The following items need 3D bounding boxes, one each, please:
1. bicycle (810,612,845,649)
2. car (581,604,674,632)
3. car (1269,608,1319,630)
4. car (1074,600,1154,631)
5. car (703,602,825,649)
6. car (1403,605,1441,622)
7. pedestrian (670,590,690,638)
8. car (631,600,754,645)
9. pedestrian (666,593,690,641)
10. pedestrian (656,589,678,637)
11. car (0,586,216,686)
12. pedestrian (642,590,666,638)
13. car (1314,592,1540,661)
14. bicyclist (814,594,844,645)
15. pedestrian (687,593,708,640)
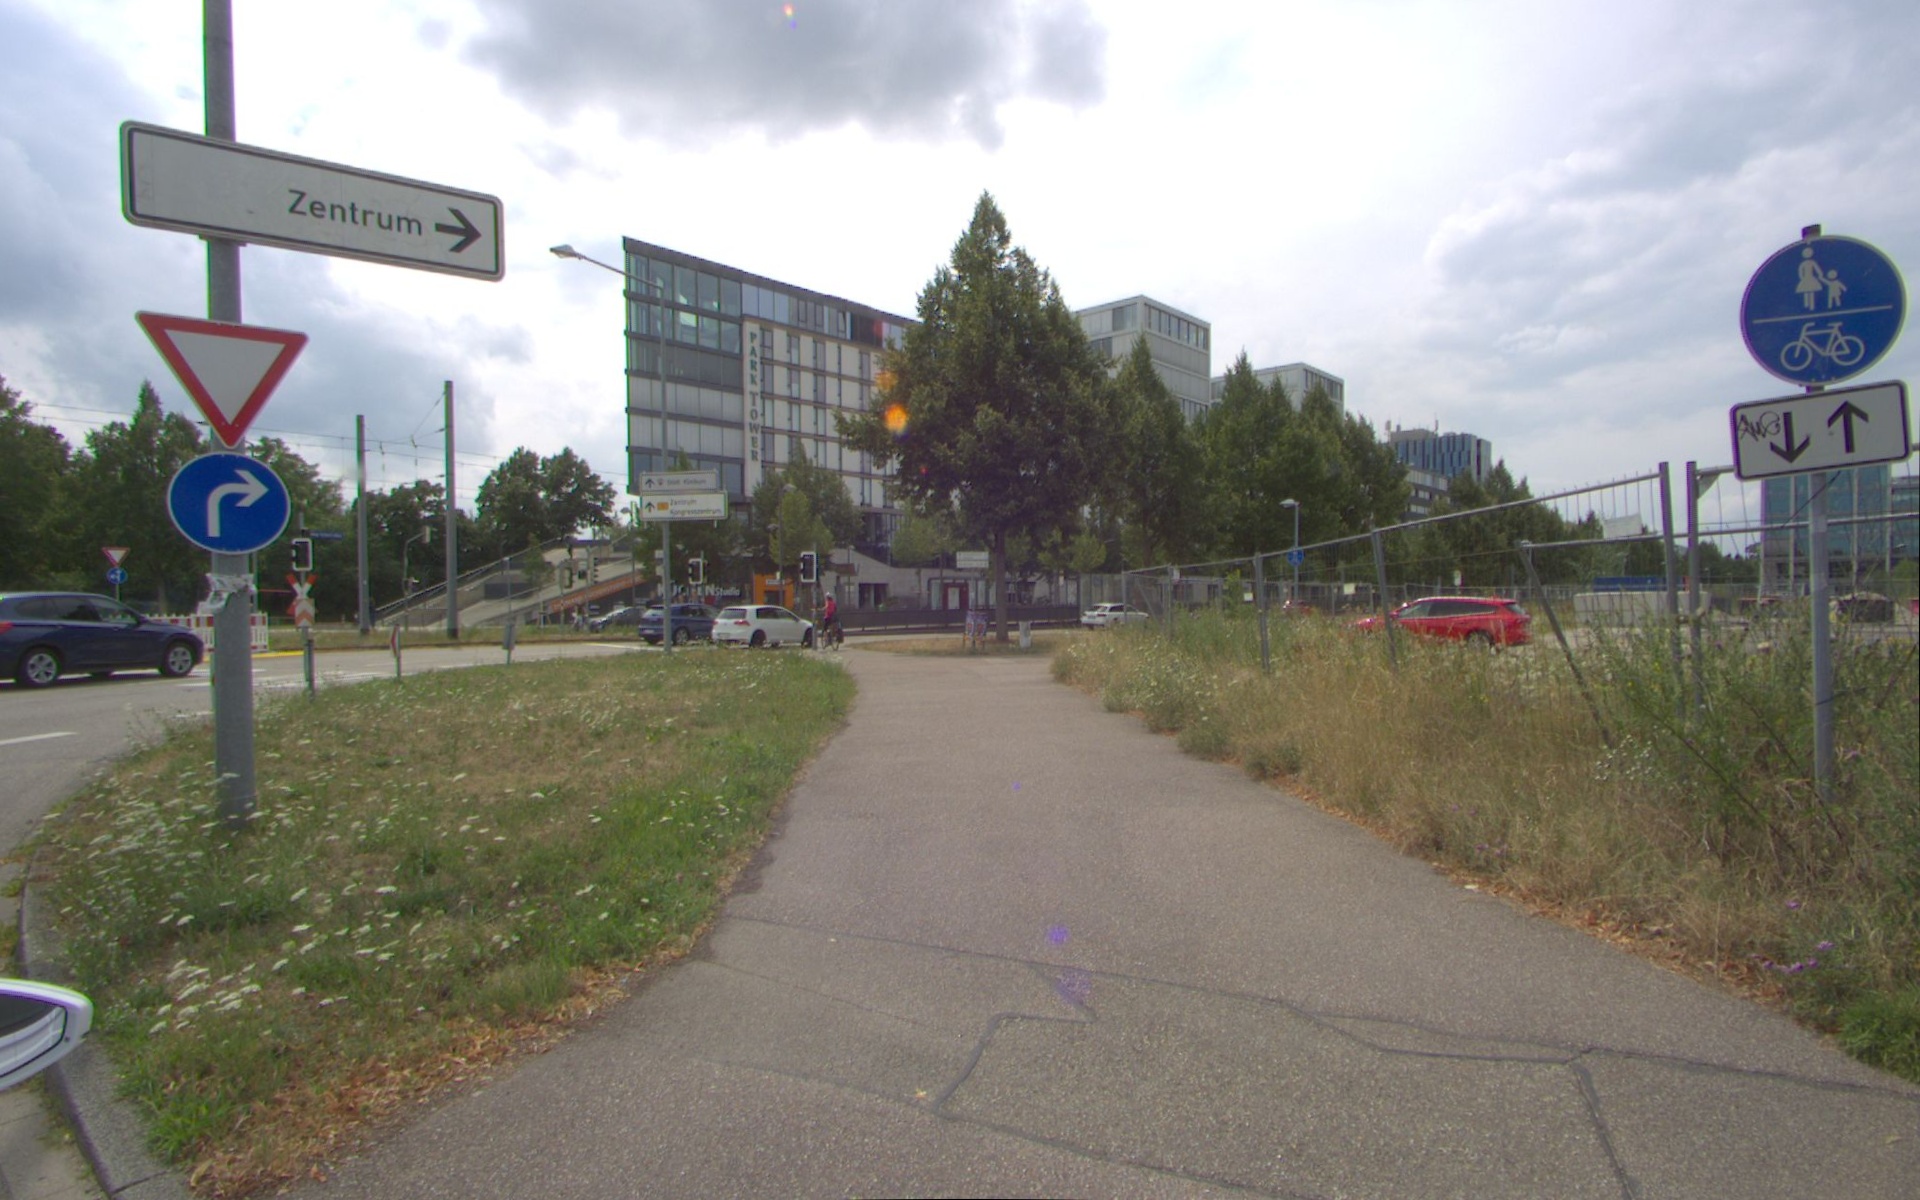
[{"bbox_3d":[-4.421,1.001,33.331,0.778,1.183,2.036,0,0,-19],"label":"bicycle"},{"bbox_3d":[-18.512,0.985,55.906,1.829,1.477,4.696,1,0,43],"label":"car"},{"bbox_3d":[25.502,1.415,76.427,1.977,1.639,4.713,0,0,41],"label":"car"},{"bbox_3d":[8.645,0.848,55.820,4.705,1.639,1.981,0,0,-44],"label":"car"},{"bbox_3d":[-6.631,0.824,34.370,1.775,1.517,4.240,0,0,30],"label":"car"},{"bbox_3d":[40.614,1.152,87.938,1.978,1.392,3.966,0,0,42],"label":"car"},{"bbox_3d":[-10.965,0.542,39.159,0.546,1.887,0.527,1,1,37],"label":"pedestrian"},{"bbox_3d":[-9.533,0.771,35.964,1.778,1.517,4.091,0,0,35],"label":"car"},{"bbox_3d":[-10.799,0.640,38.380,0.546,1.805,0.685,1,1,37],"label":"pedestrian"},{"bbox_3d":[-11.331,0.496,38.691,0.546,1.805,0.629,1,1,37],"label":"pedestrian"},{"bbox_3d":[-15.729,0.567,17.711,1.699,1.554,4.371,0,0,4],"label":"car"},{"bbox_3d":[-11.624,0.530,38.023,0.546,1.805,0.685,1,1,37],"label":"pedestrian"},{"bbox_3d":[11.971,0.644,25.869,5.072,1.625,1.777,0,0,37],"label":"car"},{"bbox_3d":[-4.347,0.640,33.101,0.778,1.649,1.046,-1,1,-19],"label":"bicyclist"},{"bbox_3d":[-10.194,0.644,38.931,0.546,1.805,0.576,1,1,37],"label":"pedestrian"}]
